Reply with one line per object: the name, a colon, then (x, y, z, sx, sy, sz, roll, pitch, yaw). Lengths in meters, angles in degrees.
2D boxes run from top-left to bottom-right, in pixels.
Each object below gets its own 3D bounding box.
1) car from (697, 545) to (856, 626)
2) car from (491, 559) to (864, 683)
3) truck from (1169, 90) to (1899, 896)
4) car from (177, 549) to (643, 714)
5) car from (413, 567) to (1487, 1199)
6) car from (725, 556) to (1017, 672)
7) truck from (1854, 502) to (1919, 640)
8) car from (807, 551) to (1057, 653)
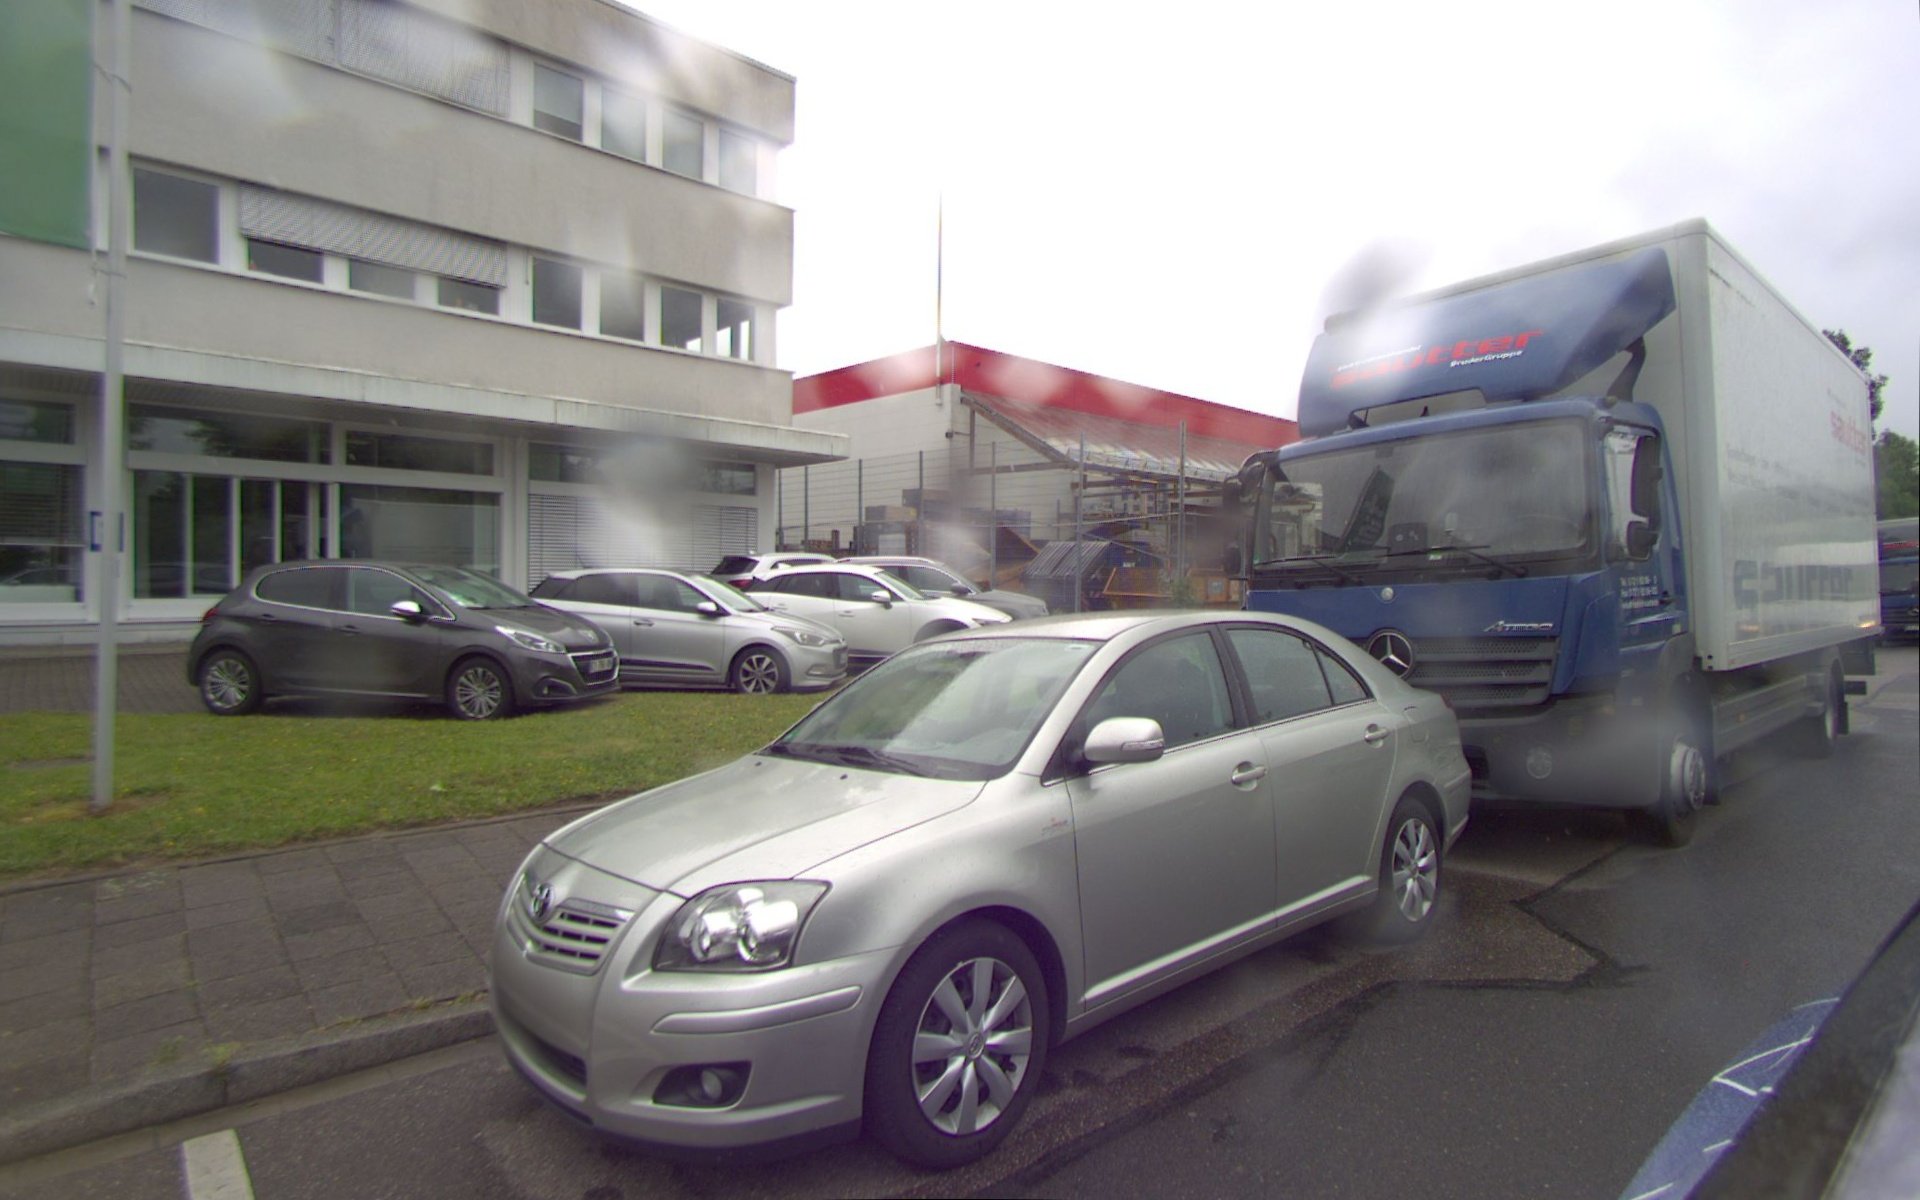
car: (-3.516, -0.292, 19.561, 2.700, 1.443, 1.400, -1, 2, -42)
car: (-3.220, 0.206, 11.986, 3.928, 1.302, 1.705, 1, 1, 4)
truck: (5.762, -0.545, 8.899, 9.139, 3.838, 2.744, -1, -1, -42)
car: (-5.224, 0.244, 9.890, 3.702, 1.410, 1.704, 1, 1, 6)
car: (0.365, 0.624, 4.118, 4.271, 1.459, 1.800, -1, 2, -43)
car: (-1.169, 0.160, 14.433, 3.928, 1.488, 1.774, 1, 1, 4)
truck: (28.953, -0.820, 30.063, 7.873, 3.739, 2.674, -1, -1, -42)
car: (-0.408, 0.003, 16.873, 3.927, 1.546, 1.872, 1, 1, 4)
